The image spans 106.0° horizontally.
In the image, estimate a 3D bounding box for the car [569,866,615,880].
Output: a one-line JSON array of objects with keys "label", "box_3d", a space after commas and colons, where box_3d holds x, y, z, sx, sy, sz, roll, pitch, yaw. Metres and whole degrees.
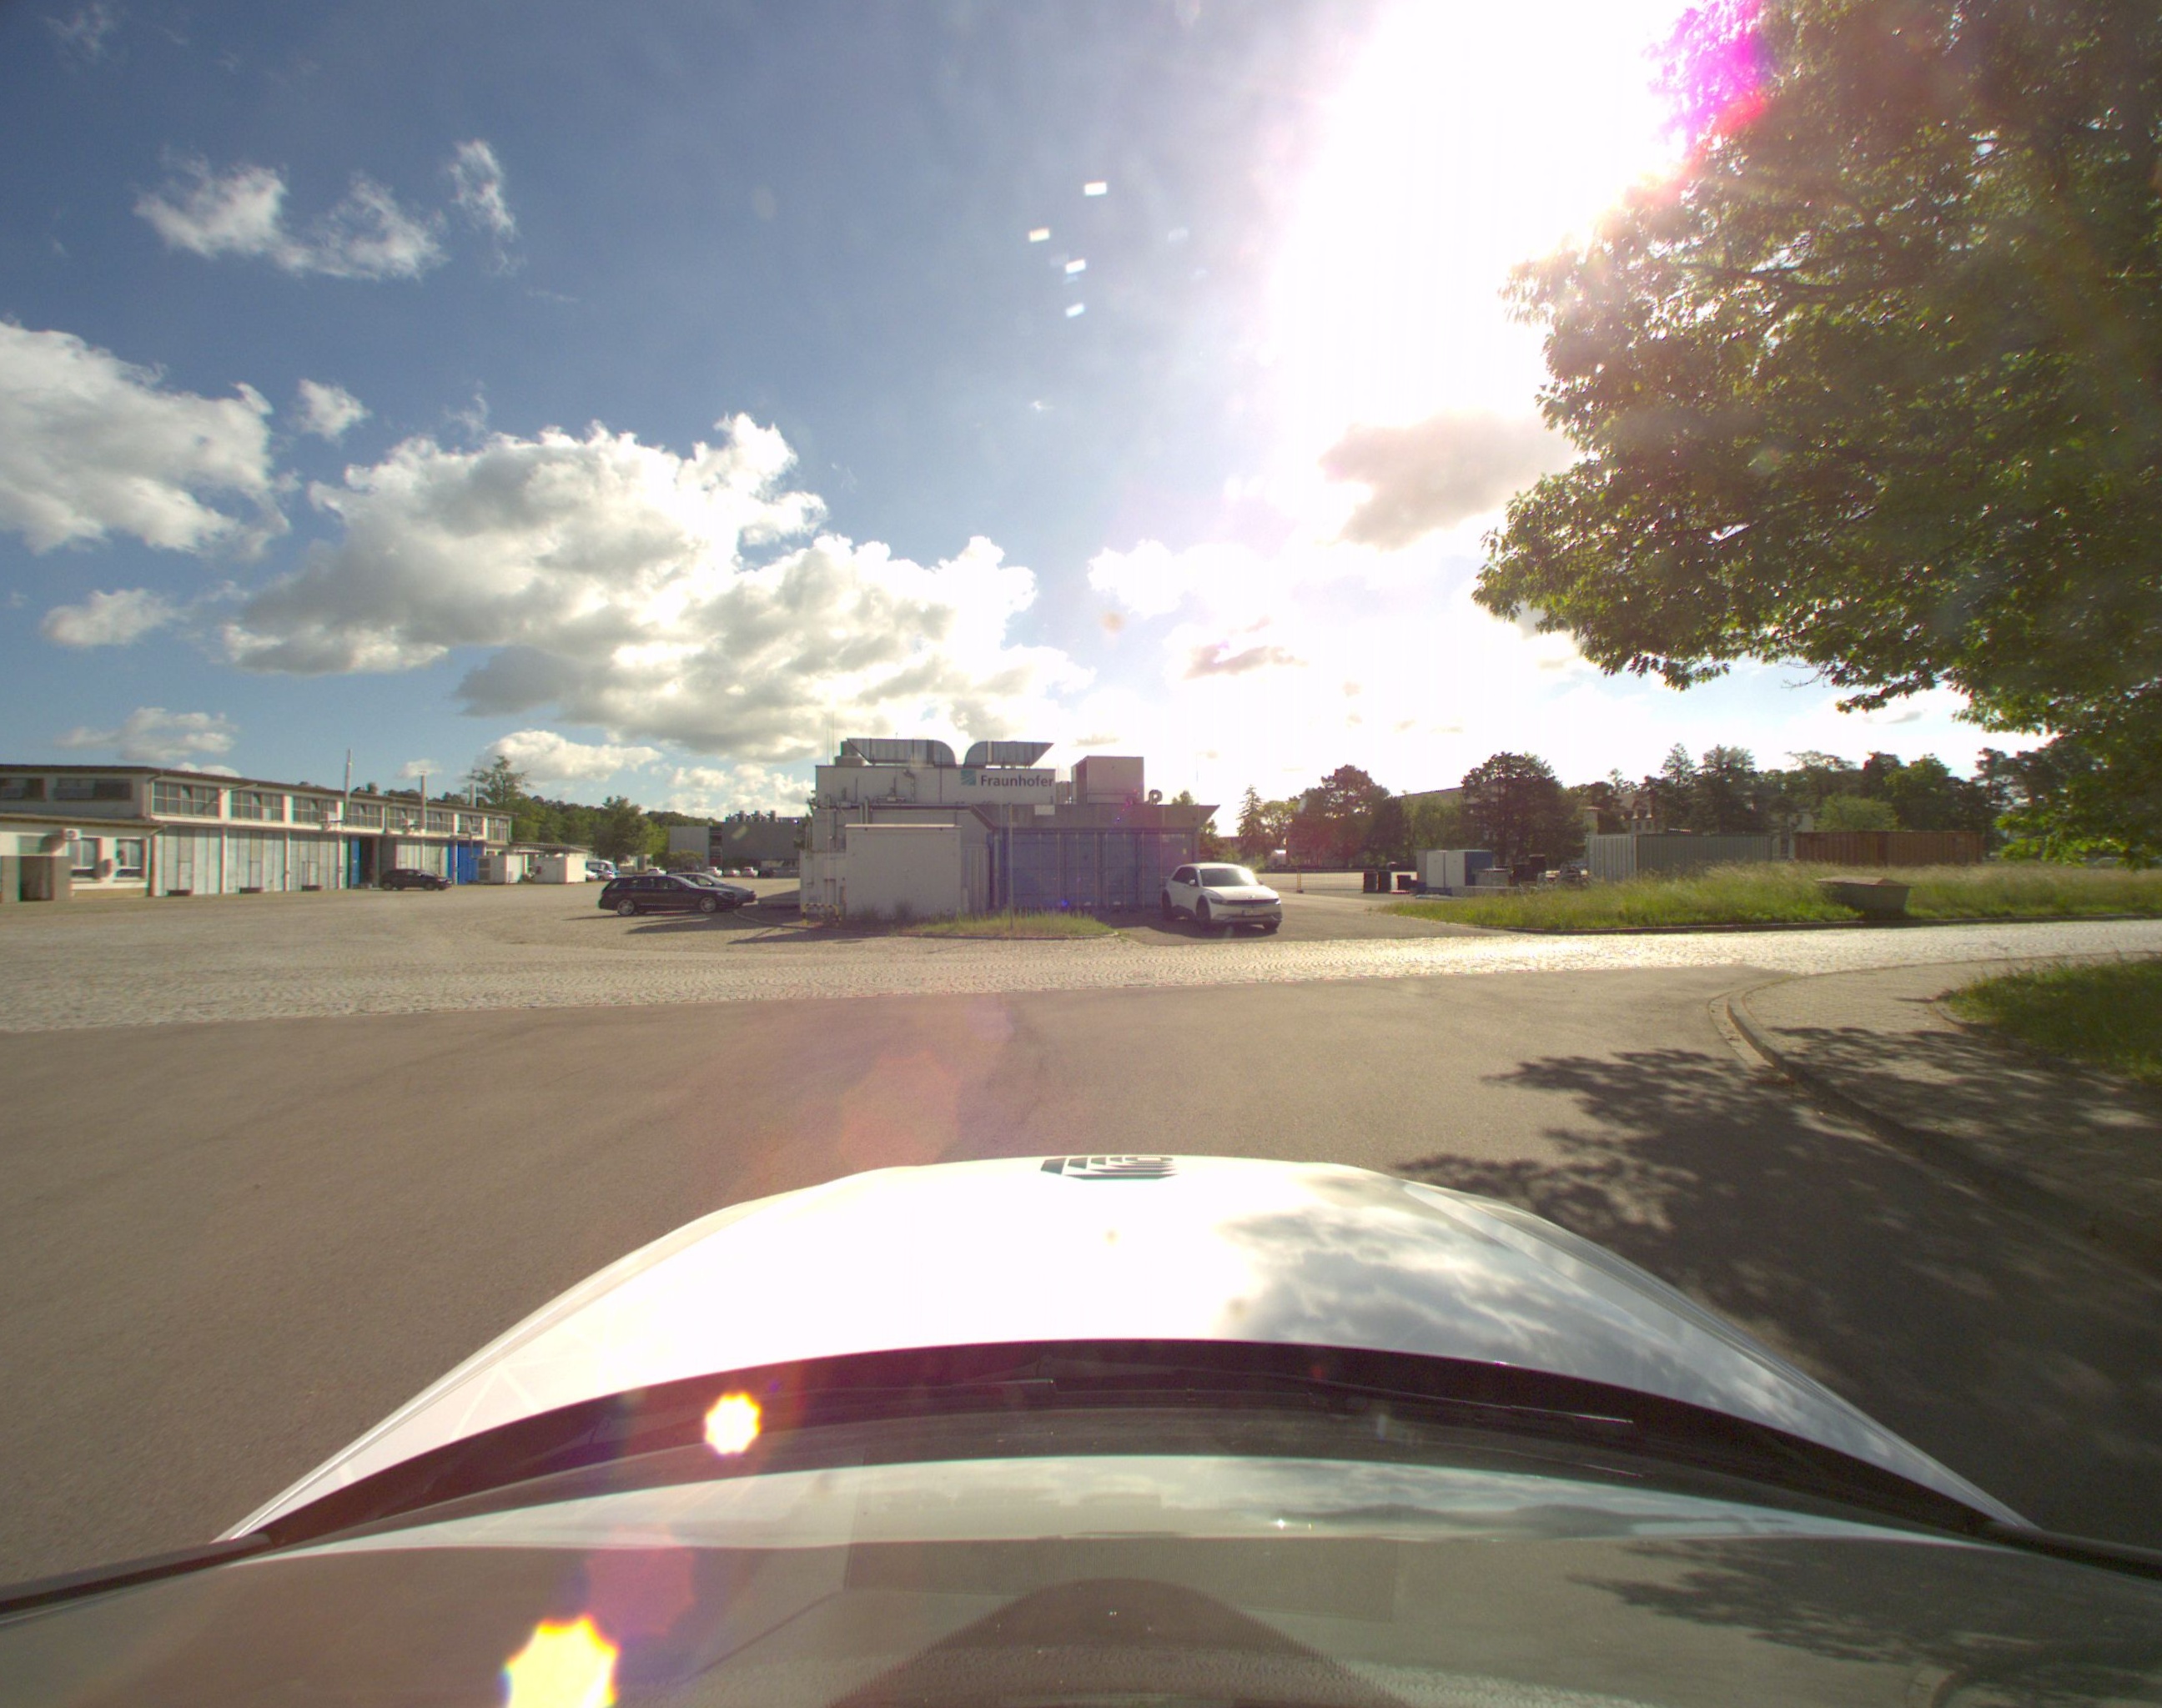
[{"label": "car", "box_3d": [-55.870, 2.183, 93.086, 4.106, 1.630, 1.803, 0, -1, -7]}]

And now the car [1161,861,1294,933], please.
[{"label": "car", "box_3d": [3.638, 1.013, 21.085, 1.982, 1.593, 4.324, 0, 0, -11]}]

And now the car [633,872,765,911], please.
[{"label": "car", "box_3d": [-15.460, 1.509, 33.229, 4.532, 1.443, 1.896, -1, -2, -11]}]

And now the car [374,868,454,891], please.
[{"label": "car", "box_3d": [-49.406, 1.893, 60.408, 4.166, 1.666, 1.776, 1, -2, -13]}]

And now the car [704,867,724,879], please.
[{"label": "car", "box_3d": [-54.242, 2.789, 120.467, 1.880, 1.689, 4.017, -2, -1, -13]}]

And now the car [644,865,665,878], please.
[{"label": "car", "box_3d": [-62.091, 2.559, 118.706, 1.850, 1.668, 4.111, -2, -1, -16]}]

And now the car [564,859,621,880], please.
[{"label": "car", "box_3d": [-57.388, 1.789, 95.770, 5.253, 2.442, 2.044, 0, -1, -7]}]

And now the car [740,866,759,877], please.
[{"label": "car", "box_3d": [-49.461, 2.676, 121.538, 1.880, 1.537, 4.017, -2, -1, -13]}]

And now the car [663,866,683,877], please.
[{"label": "car", "box_3d": [-59.665, 2.527, 119.092, 1.881, 1.537, 4.013, -2, -1, -16]}]

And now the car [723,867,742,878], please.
[{"label": "car", "box_3d": [-51.698, 2.763, 120.844, 1.880, 1.537, 4.017, -2, -1, -13]}]

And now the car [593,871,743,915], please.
[{"label": "car", "box_3d": [-15.080, 1.421, 29.995, 4.532, 1.443, 1.979, -1, -2, -11]}]
